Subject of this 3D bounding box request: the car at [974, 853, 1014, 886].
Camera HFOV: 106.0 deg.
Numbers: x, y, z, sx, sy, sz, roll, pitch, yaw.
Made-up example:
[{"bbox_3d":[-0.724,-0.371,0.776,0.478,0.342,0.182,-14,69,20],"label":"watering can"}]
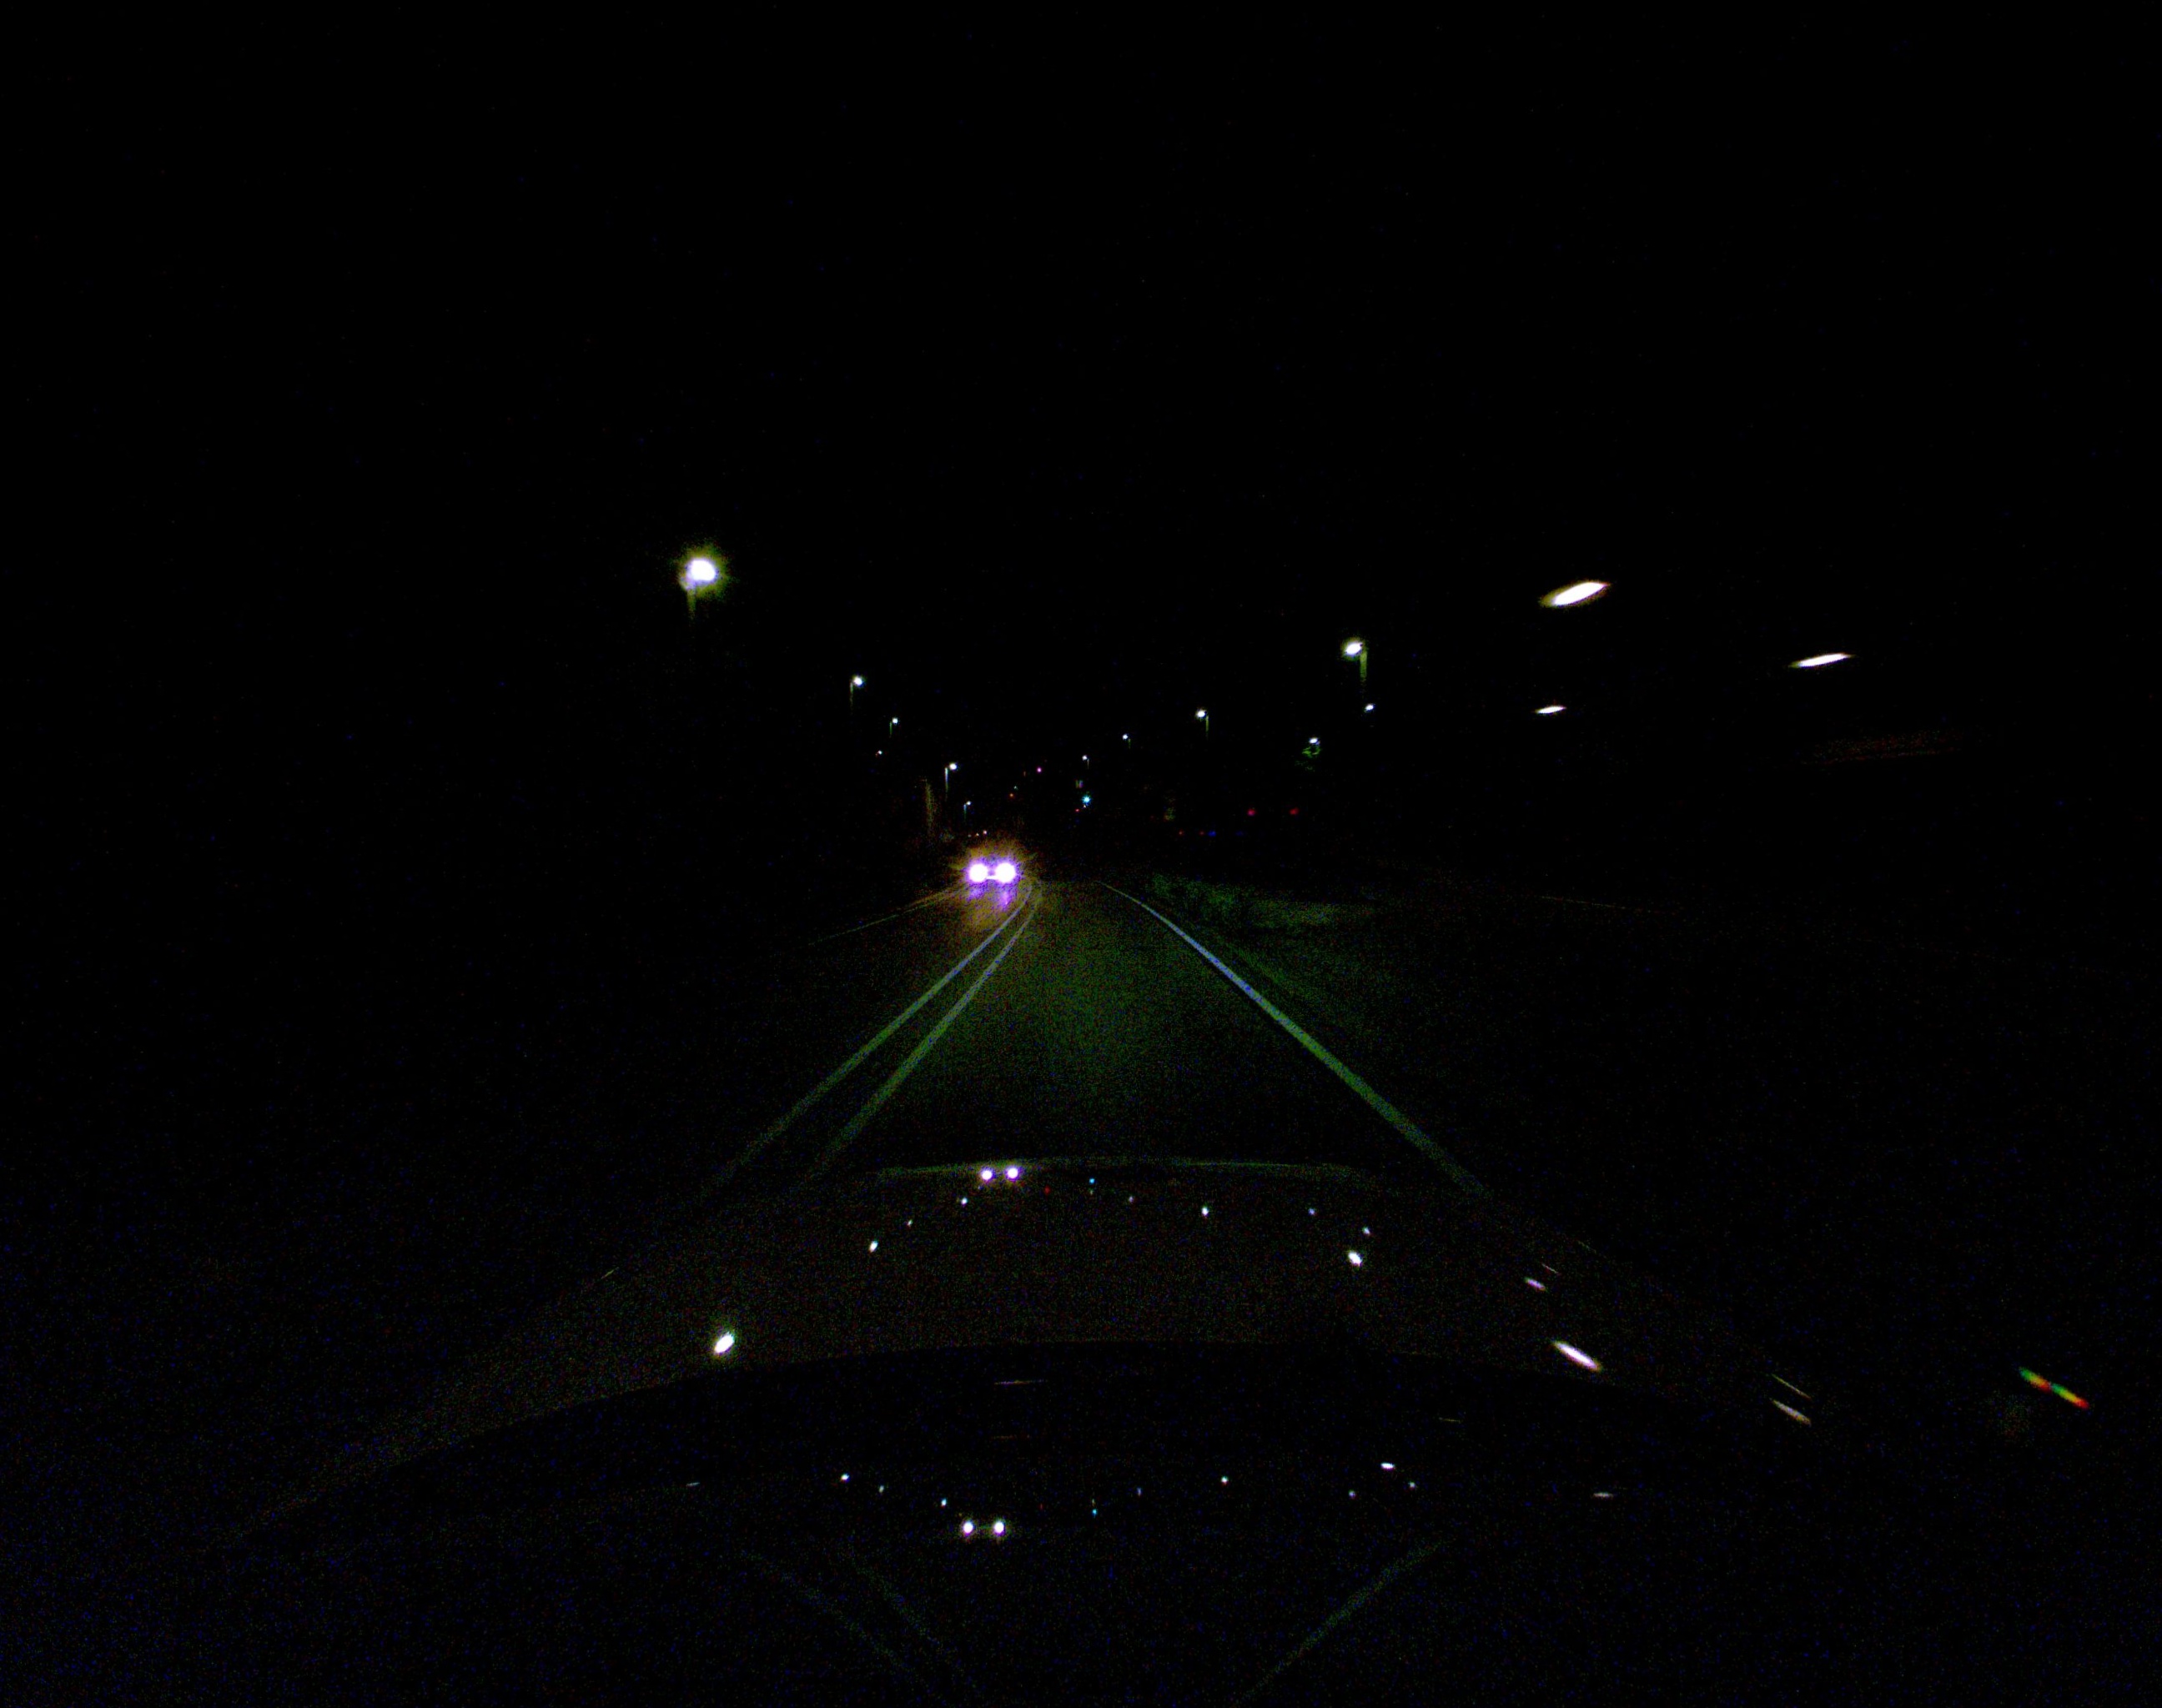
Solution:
[{"bbox_3d":[-4.333,0.751,41.017,1.855,1.510,3.993,-1,0,-5],"label":"car"}]
